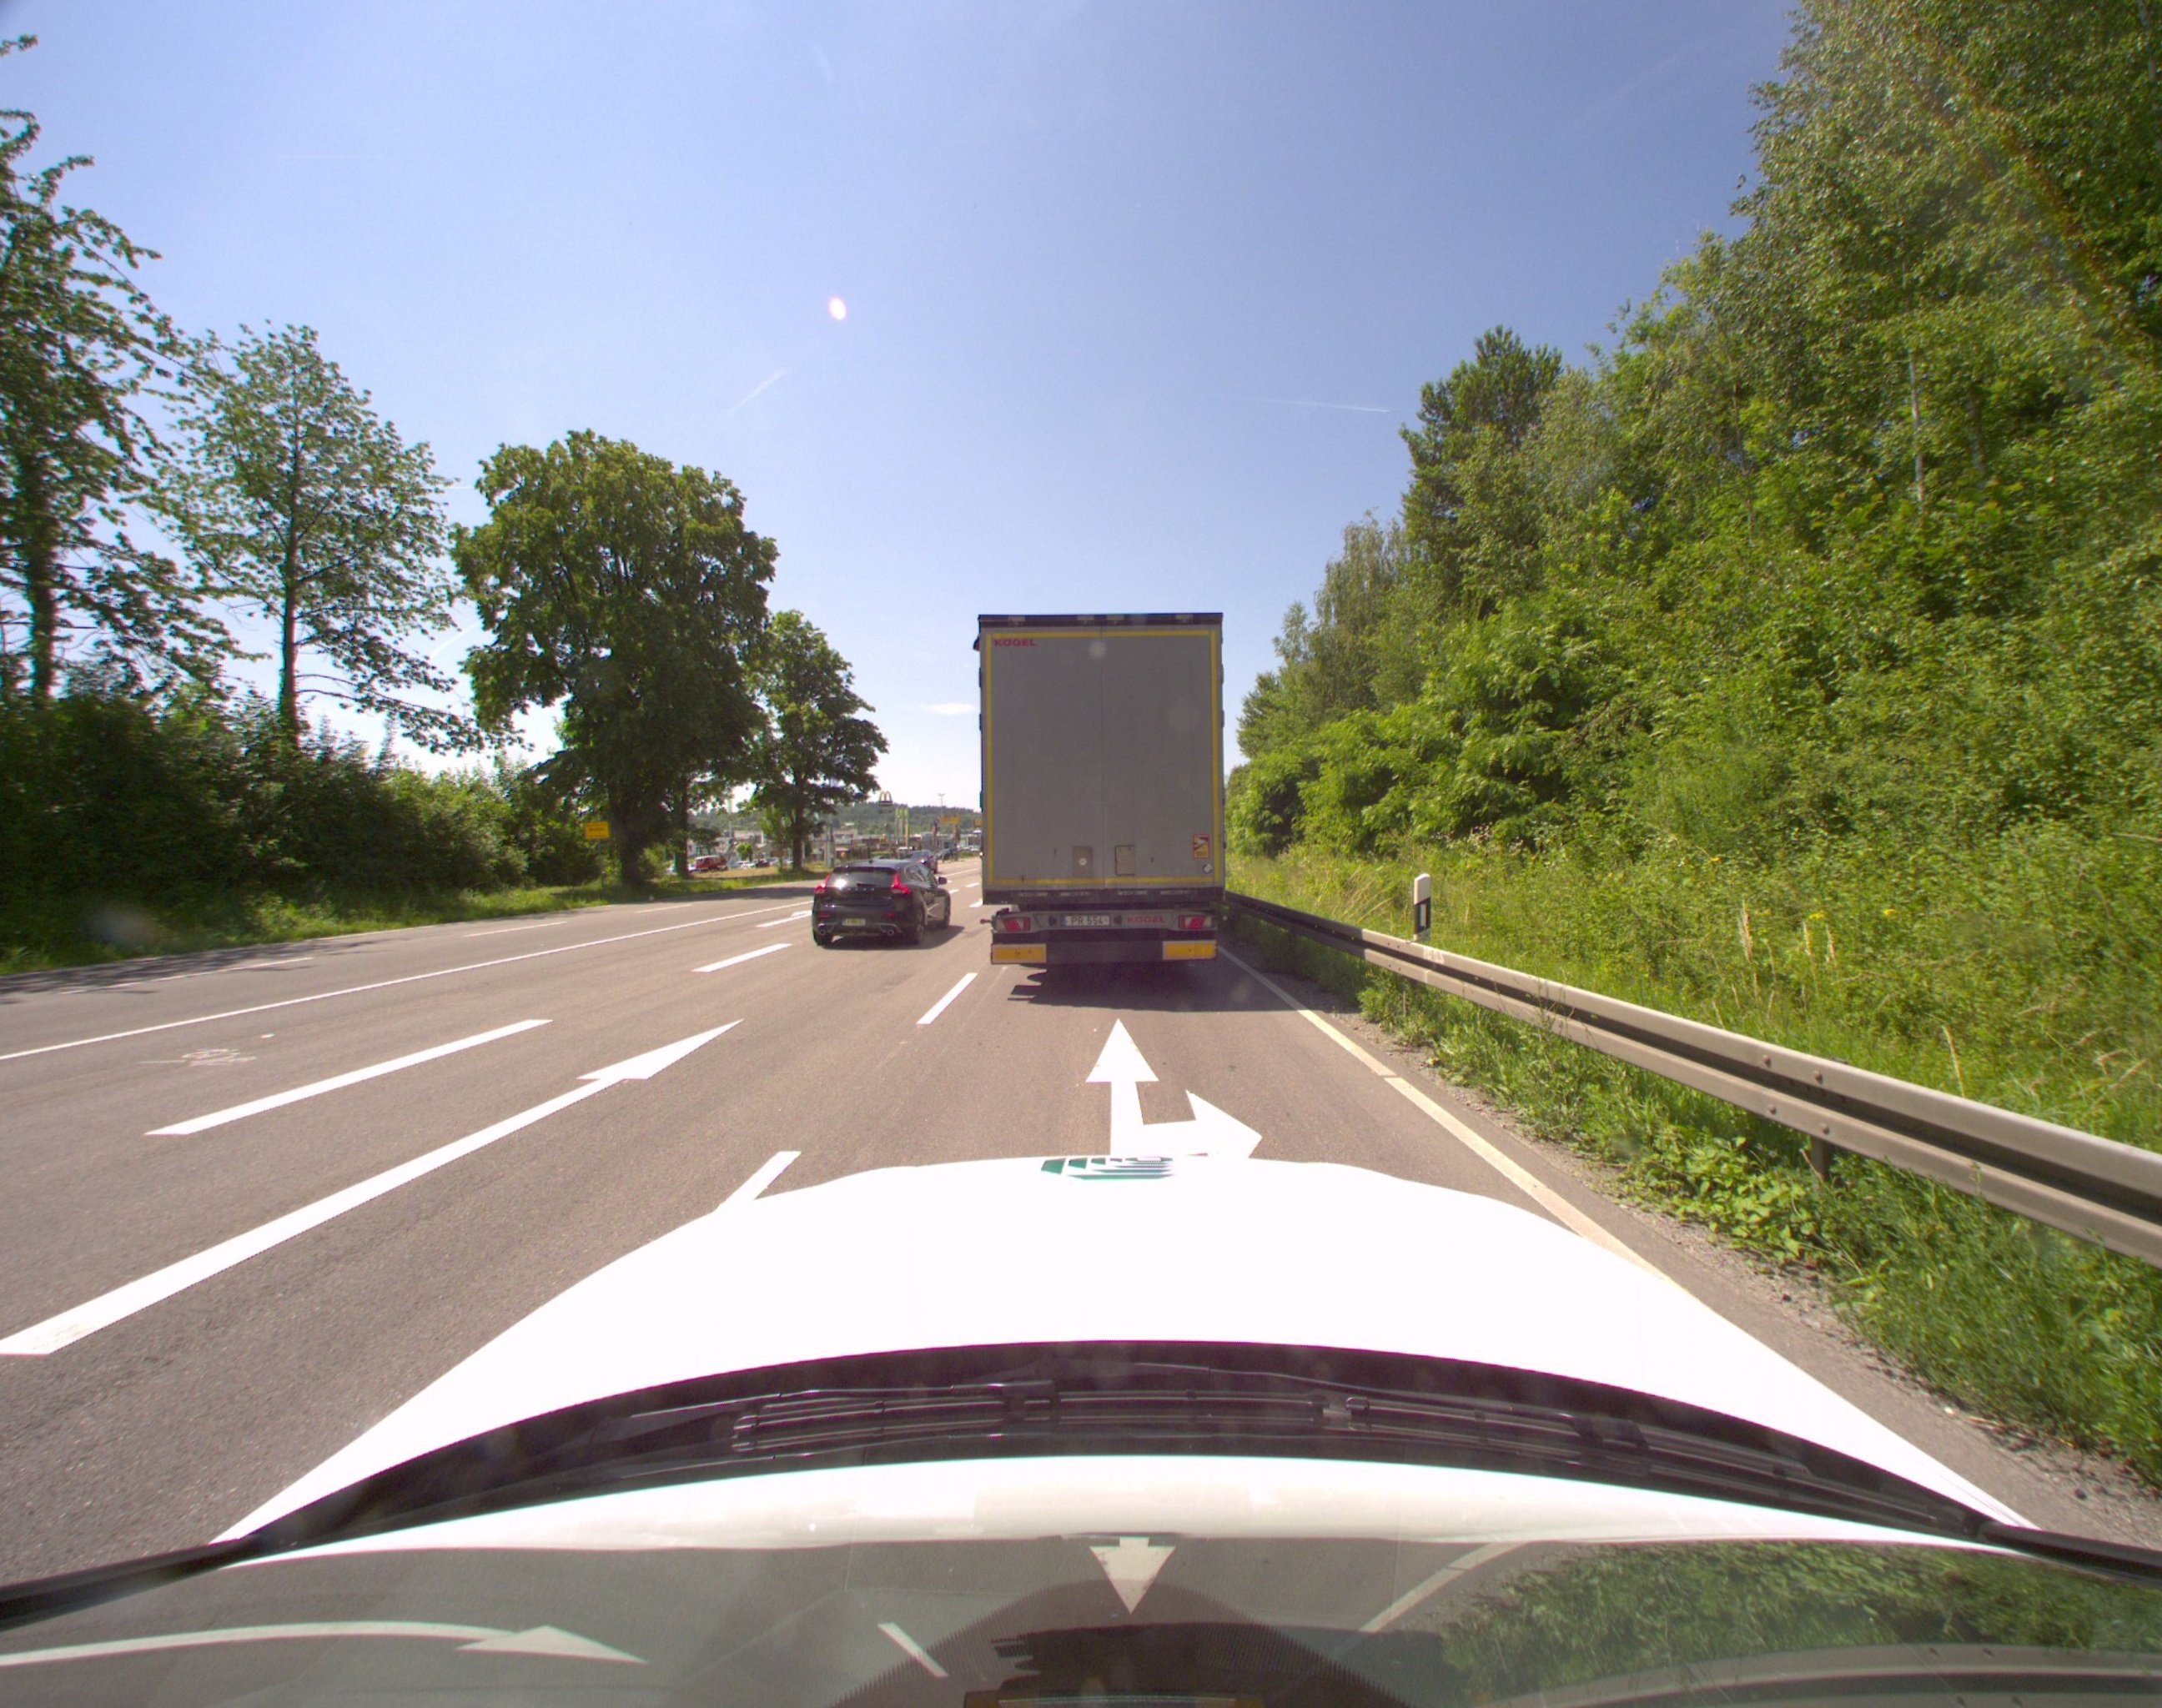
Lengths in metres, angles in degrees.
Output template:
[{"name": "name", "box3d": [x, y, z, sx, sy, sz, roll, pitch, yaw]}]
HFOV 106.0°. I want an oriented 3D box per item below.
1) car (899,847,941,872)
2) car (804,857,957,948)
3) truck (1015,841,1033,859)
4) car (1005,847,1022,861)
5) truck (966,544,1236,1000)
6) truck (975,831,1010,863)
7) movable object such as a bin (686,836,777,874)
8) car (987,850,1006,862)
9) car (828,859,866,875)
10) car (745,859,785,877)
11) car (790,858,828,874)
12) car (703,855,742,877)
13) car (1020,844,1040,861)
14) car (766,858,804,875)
[{"name": "car", "box3d": [-10.325, 0.347, 52.396, 1.897, 1.508, 3.764, -1, 0, 0]}, {"name": "car", "box3d": [-3.499, 0.783, 15.049, 1.680, 1.398, 4.403, -1, -1, 1]}, {"name": "truck", "box3d": [-11.314, -0.756, 162.468, 2.837, 3.351, 11.480, -1, 0, 0]}, {"name": "car", "box3d": [-8.735, -0.028, 105.768, 1.714, 1.753, 3.857, -1, 0, 1]}, {"name": "truck", "box3d": [0.471, -0.782, 16.614, 2.745, 4.639, 16.661, 0, 0, 2]}, {"name": "truck", "box3d": [-12.783, -0.996, 119.059, 2.958, 4.176, 16.576, -1, 0, 1]}, {"name": "movable object such as a bin", "box3d": [-31.573, 0.048, 73.741, 3.013, 3.298, 6.835, -1, 1, 41]}, {"name": "car", "box3d": [-9.695, 0.229, 93.275, 1.761, 1.386, 3.999, 0, 0, 0]}, {"name": "car", "box3d": [-24.969, 1.341, 86.905, 3.948, 1.618, 1.852, -1, 0, 38]}, {"name": "car", "box3d": [-31.662, 1.390, 81.558, 3.948, 1.651, 2.013, -1, 0, 38]}, {"name": "car", "box3d": [-28.571, 1.226, 85.536, 3.948, 1.618, 1.852, -1, 0, 38]}, {"name": "car", "box3d": [-34.644, 1.141, 78.625, 3.949, 2.013, 2.012, -1, 0, 42]}, {"name": "car", "box3d": [-6.262, -0.169, 100.485, 1.986, 2.013, 4.001, -1, 0, 1]}, {"name": "car", "box3d": [-30.346, 1.277, 83.384, 3.948, 1.618, 1.852, -1, 0, 38]}]
